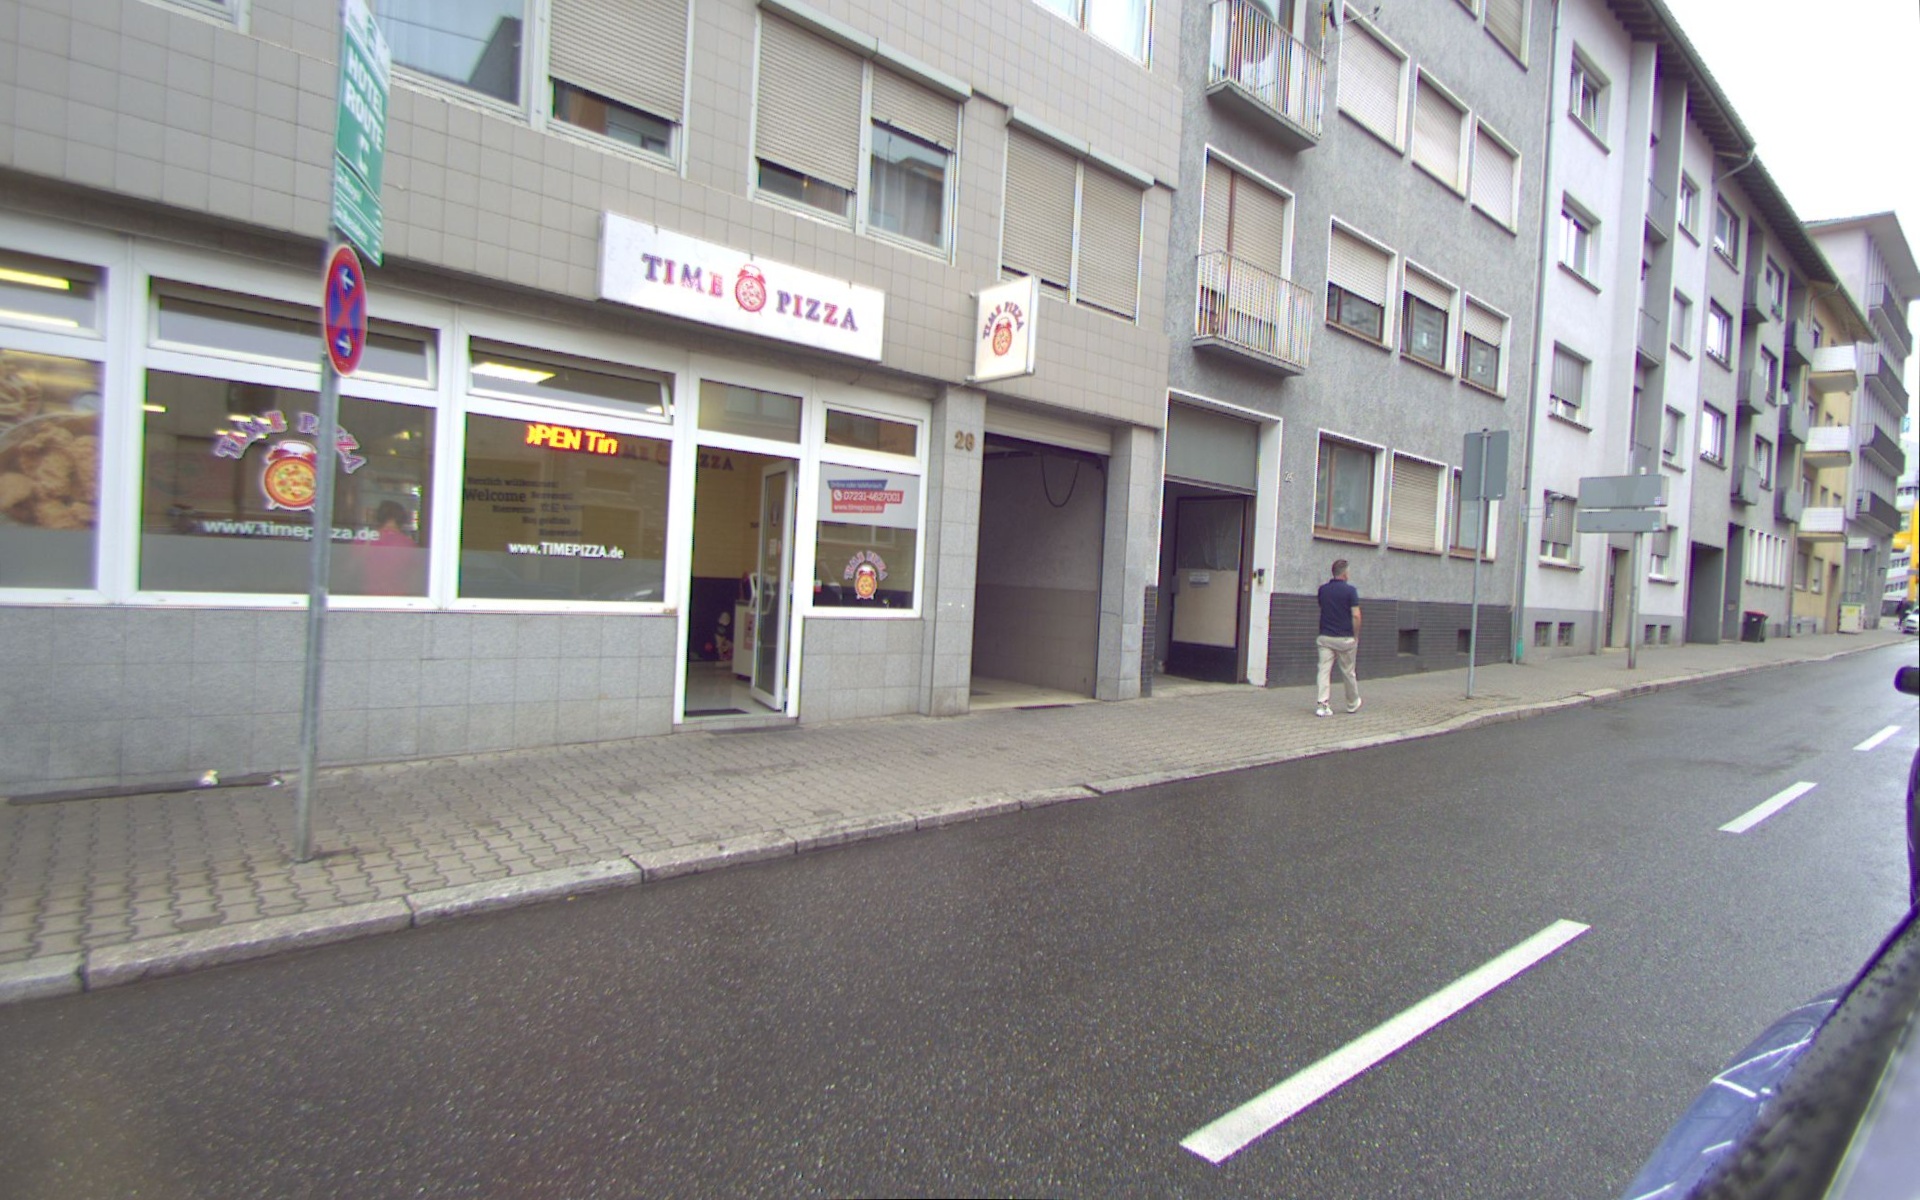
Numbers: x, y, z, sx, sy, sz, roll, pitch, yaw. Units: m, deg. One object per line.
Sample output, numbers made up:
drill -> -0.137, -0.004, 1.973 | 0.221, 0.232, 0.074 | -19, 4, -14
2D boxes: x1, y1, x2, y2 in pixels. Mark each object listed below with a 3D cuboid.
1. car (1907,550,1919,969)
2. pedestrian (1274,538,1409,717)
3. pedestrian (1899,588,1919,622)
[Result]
car -> 6.085, 0.647, 4.953 | 4.144, 1.743, 1.697 | -1, 0, -41
pedestrian -> 4.373, 0.276, 11.601 | 1.100, 1.887, 0.871 | 0, 7, -41
pedestrian -> 51.008, 0.254, 54.063 | 1.117, 1.772, 0.946 | 4, 3, 44
